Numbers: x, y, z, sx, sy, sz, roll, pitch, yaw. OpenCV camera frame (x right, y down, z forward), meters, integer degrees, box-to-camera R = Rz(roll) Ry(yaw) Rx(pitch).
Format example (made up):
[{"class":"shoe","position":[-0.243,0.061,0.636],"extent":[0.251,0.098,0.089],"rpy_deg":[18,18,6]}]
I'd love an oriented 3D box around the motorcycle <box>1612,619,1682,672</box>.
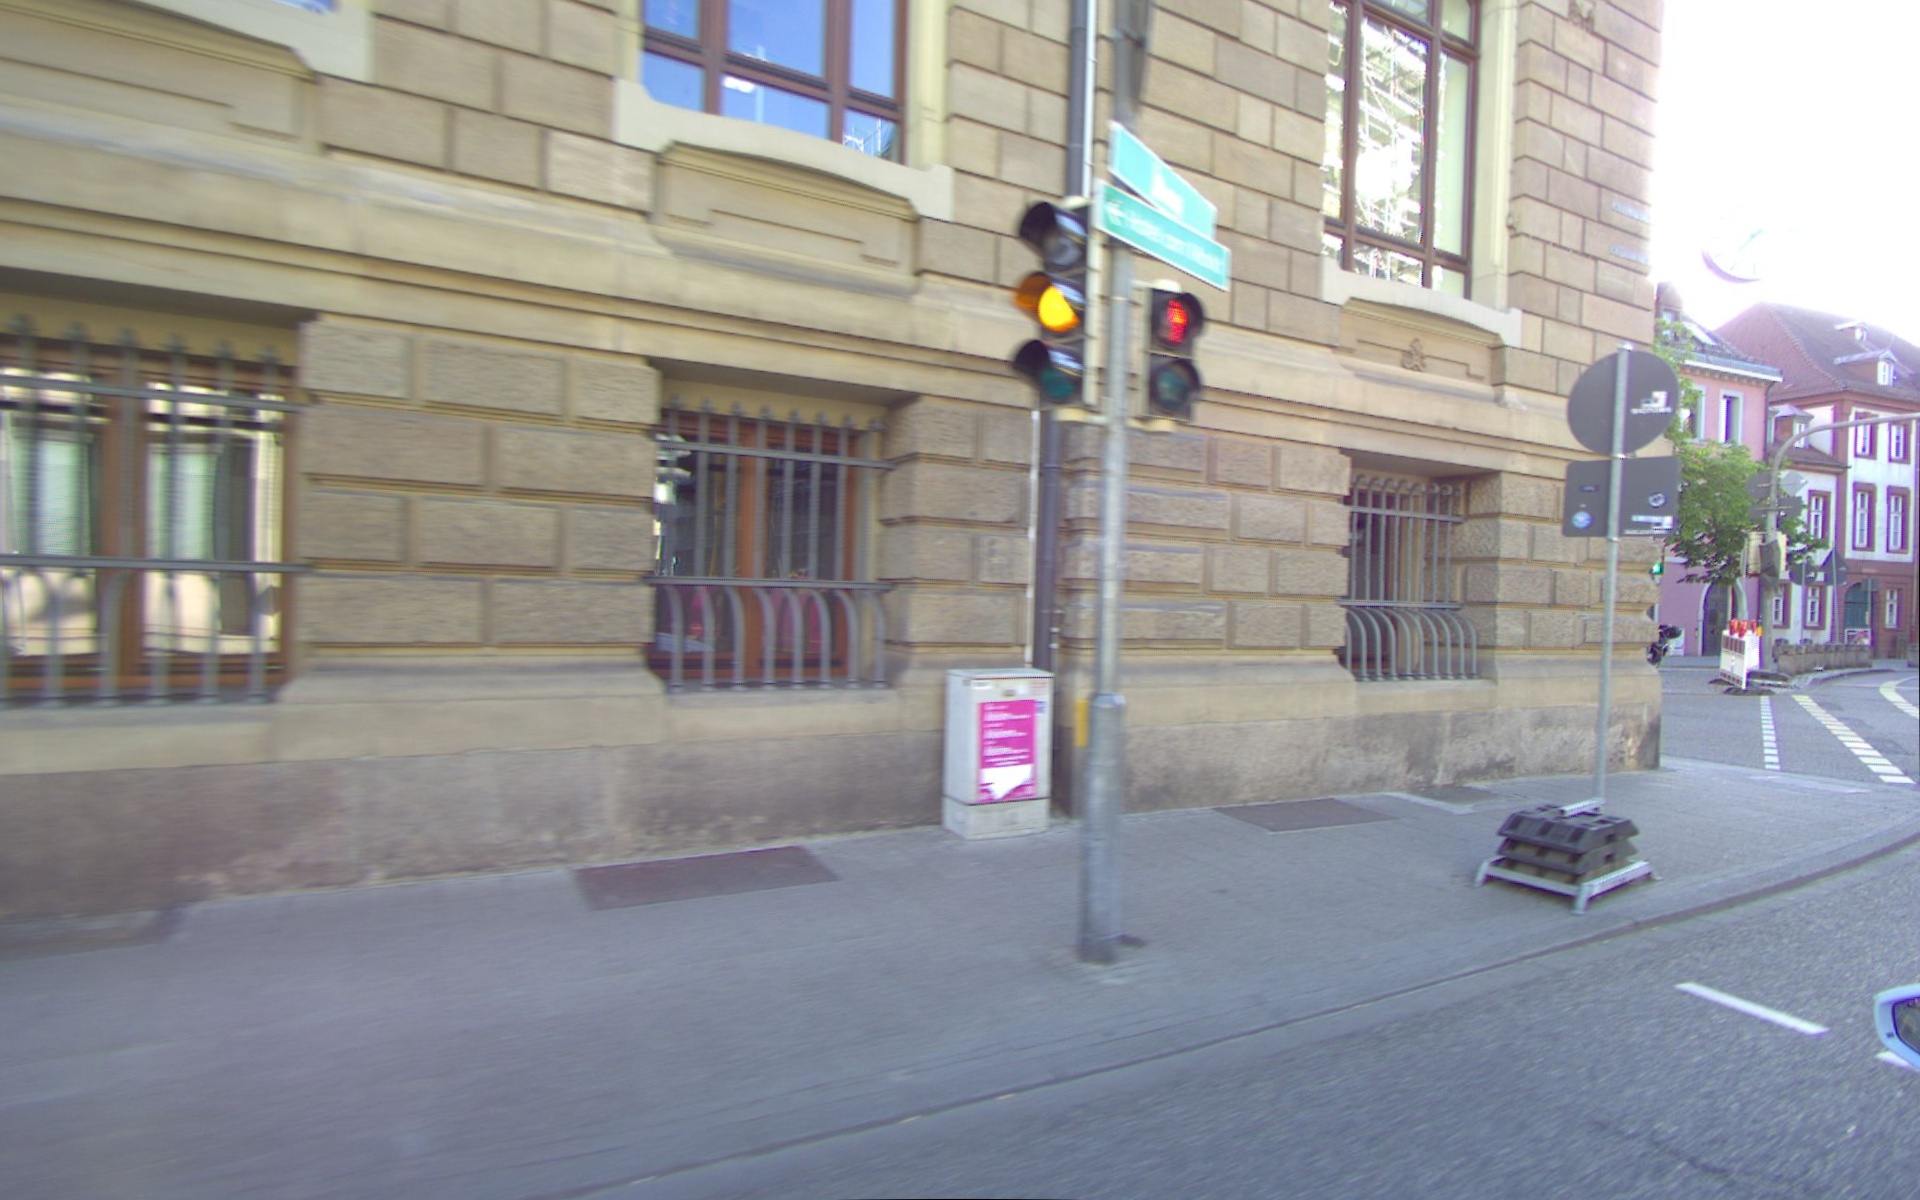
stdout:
[{"class":"motorcycle","position":[18.149,1.172,26.507],"extent":[2.315,1.335,0.806],"rpy_deg":[1,0,-37]}]

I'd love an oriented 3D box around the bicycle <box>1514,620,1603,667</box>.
[{"class":"bicycle","position":[16.035,1.156,26.951],"extent":[1.966,1.222,0.683],"rpy_deg":[0,-2,21]}]
